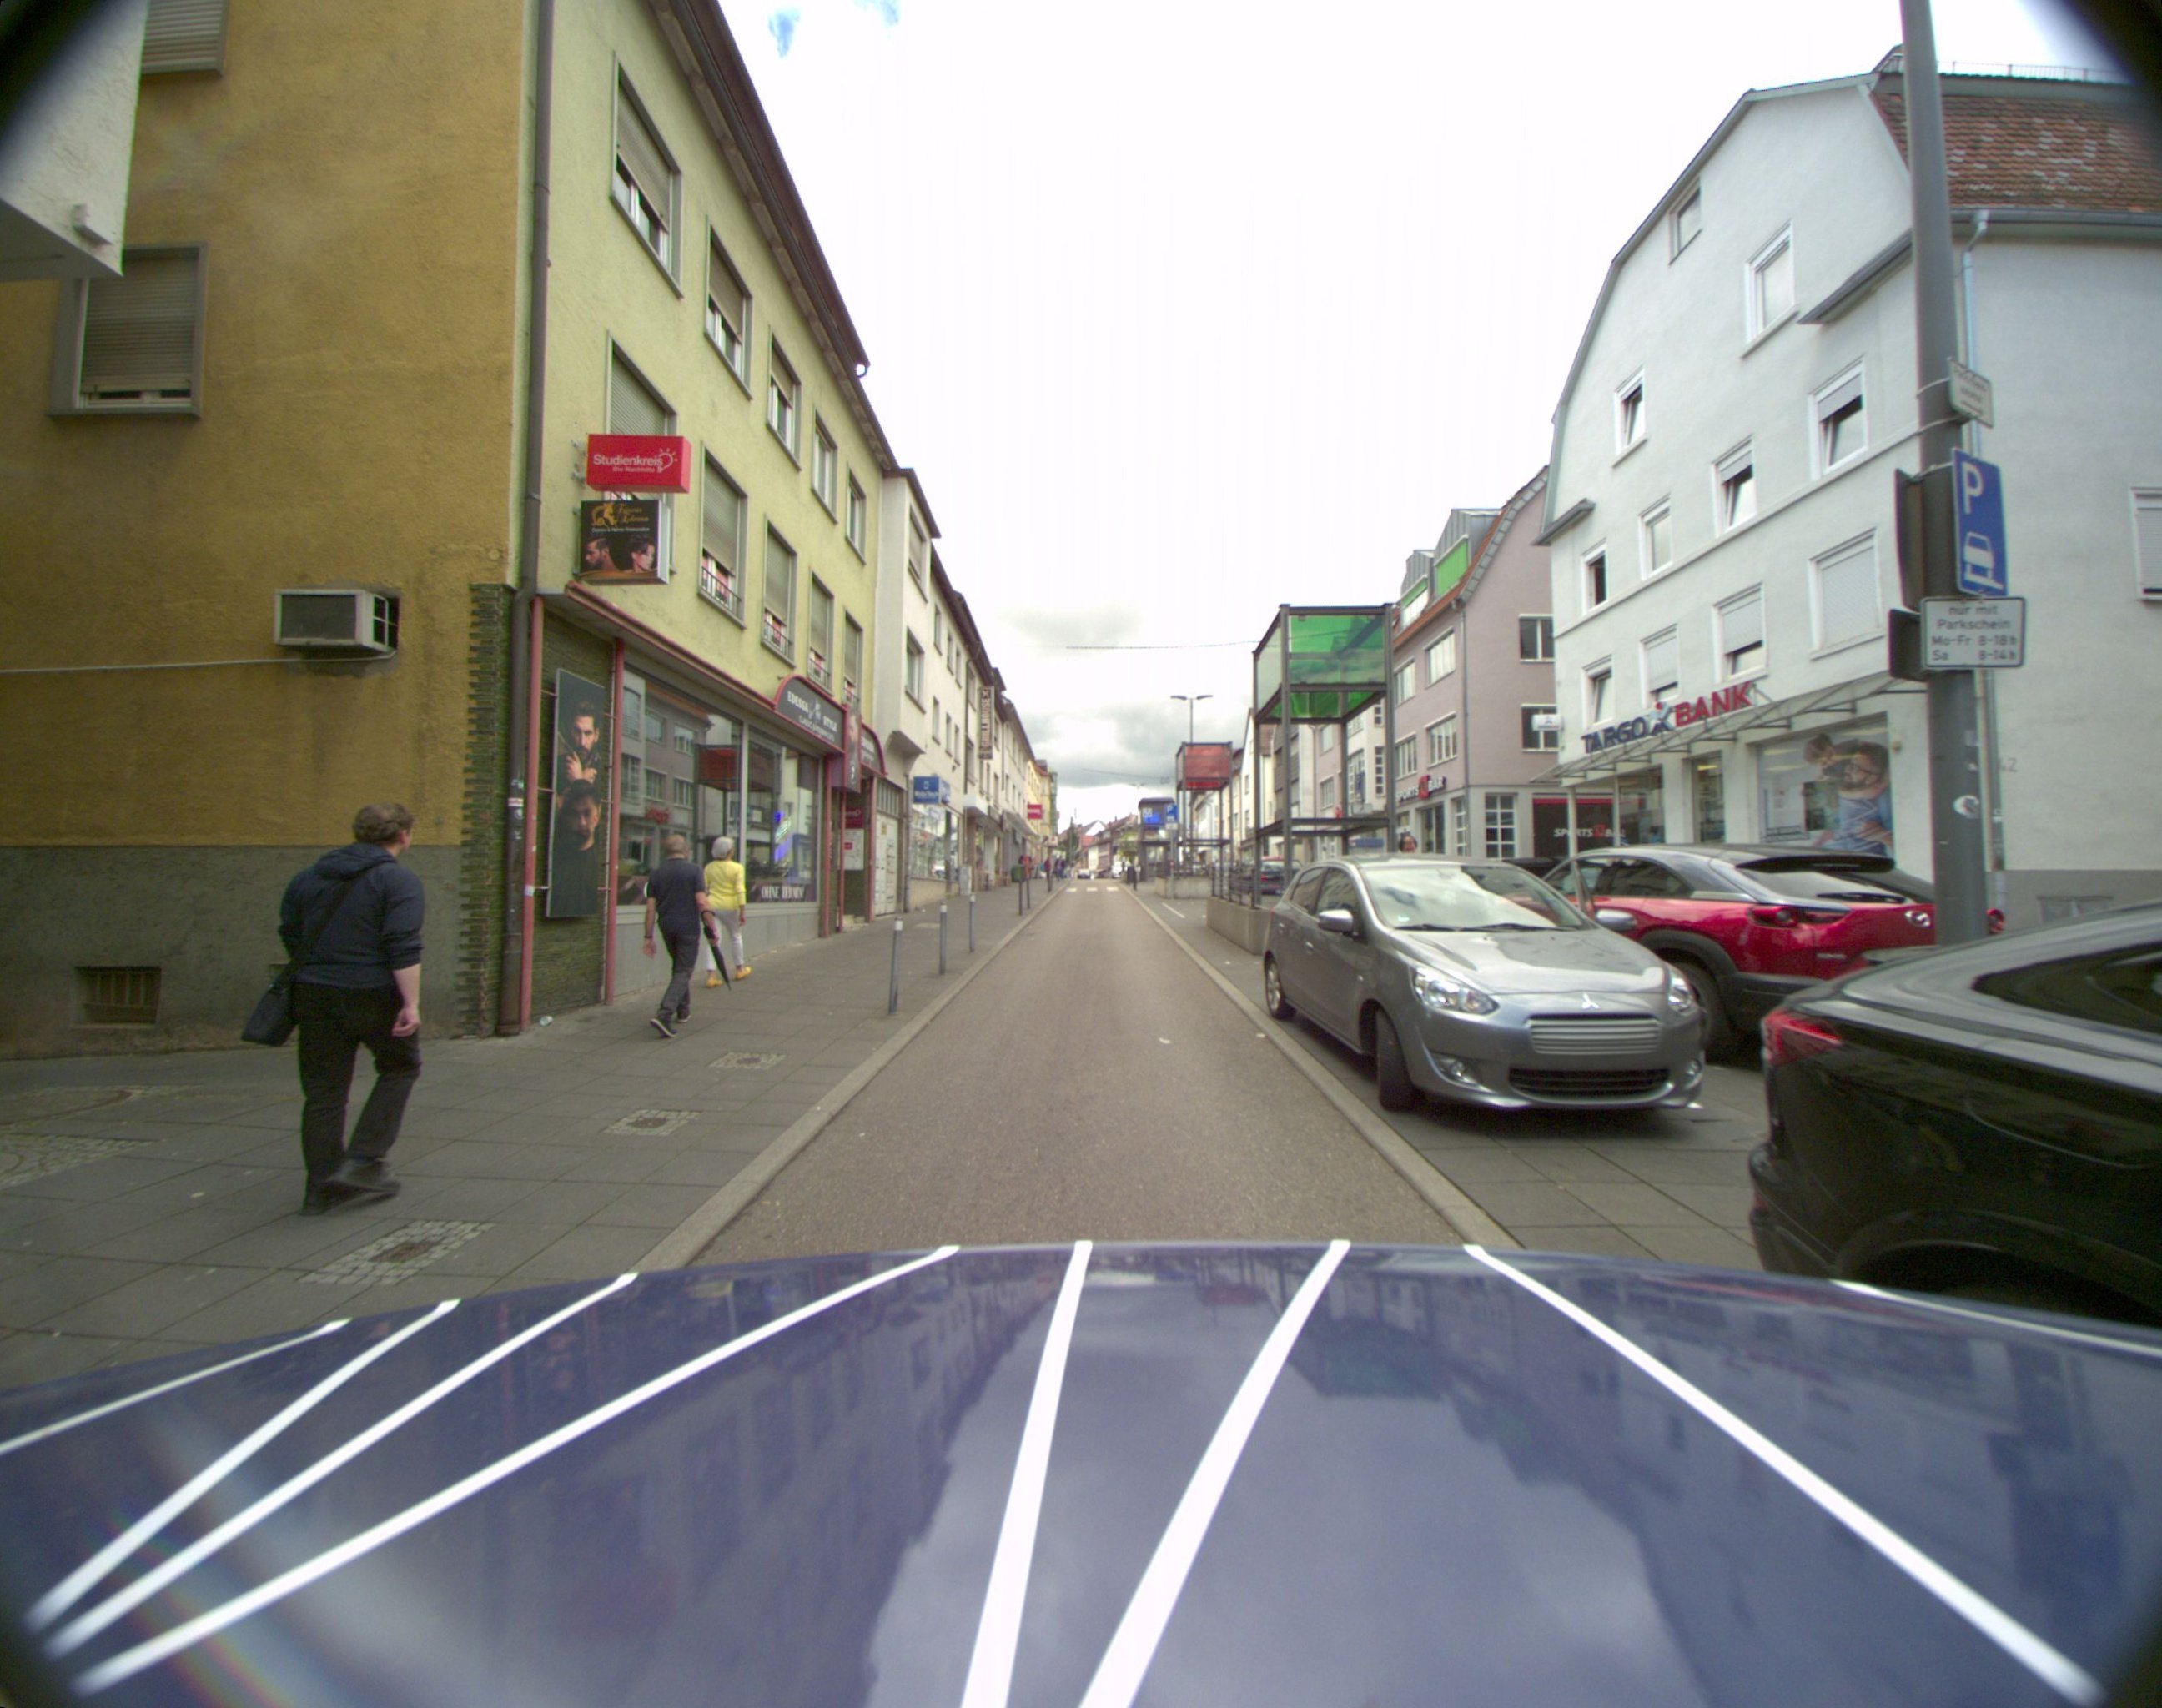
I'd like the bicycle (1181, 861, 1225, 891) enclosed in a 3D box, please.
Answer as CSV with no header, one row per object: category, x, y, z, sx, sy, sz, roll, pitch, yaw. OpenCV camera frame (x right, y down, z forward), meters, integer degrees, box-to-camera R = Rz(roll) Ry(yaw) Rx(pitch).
bicycle,5.105,0.920,31.923,1.782,1.216,0.459,0,1,0

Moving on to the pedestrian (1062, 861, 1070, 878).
pedestrian,-1.539,1.551,75.874,0.657,1.620,0.743,-2,1,-8

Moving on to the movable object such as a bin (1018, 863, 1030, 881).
movable object such as a bin,-3.500,1.092,46.611,0.652,1.074,0.673,0,0,1

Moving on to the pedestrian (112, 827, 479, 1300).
pedestrian,-3.231,0.778,3.213,0.713,1.743,0.787,1,1,1

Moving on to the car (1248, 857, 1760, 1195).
car,2.414,0.830,5.442,1.624,1.523,3.670,-2,0,1

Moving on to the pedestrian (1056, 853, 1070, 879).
pedestrian,-1.195,0.772,49.888,0.740,1.660,0.786,2,1,-8

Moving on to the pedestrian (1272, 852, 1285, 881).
pedestrian,11.956,0.731,45.926,0.592,1.706,0.513,-2,1,1

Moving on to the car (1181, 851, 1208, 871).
car,9.341,0.557,62.760,1.683,1.562,4.122,-2,0,1

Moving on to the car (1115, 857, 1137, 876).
car,3.841,1.044,65.012,1.754,1.452,3.601,-2,0,1

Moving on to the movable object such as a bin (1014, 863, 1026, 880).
movable object such as a bin,-3.698,1.074,45.890,0.670,1.024,0.560,0,0,1

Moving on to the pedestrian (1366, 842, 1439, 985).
pedestrian,3.917,0.696,9.302,0.535,1.662,0.901,-1,0,4

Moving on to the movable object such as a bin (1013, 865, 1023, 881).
movable object such as a bin,-3.758,1.106,45.278,0.568,0.951,0.498,0,0,1

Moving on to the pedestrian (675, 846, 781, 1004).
pedestrian,-3.838,0.742,8.323,0.713,1.622,0.835,2,1,1

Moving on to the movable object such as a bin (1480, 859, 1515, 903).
movable object such as a bin,13.367,0.858,24.387,0.691,1.368,0.808,-1,0,1

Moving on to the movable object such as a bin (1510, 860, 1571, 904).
movable object such as a bin,14.593,0.871,24.178,1.286,1.368,1.067,-1,0,1

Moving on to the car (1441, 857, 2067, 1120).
car,5.046,0.822,6.672,1.743,1.534,4.192,0,0,0

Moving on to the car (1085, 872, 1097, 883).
car,1.613,3.765,121.161,1.741,1.608,3.999,-2,0,-2

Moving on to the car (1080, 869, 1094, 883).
car,0.782,2.834,98.465,1.741,1.608,3.843,-2,0,0

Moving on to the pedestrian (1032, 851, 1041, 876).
pedestrian,-3.197,0.679,54.514,0.627,1.716,0.607,2,1,-5

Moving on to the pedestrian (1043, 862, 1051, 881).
pedestrian,-3.058,1.563,67.995,0.627,1.620,0.607,-2,1,-5

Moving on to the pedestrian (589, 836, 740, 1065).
pedestrian,-3.422,0.752,6.310,0.713,1.743,0.785,4,1,1

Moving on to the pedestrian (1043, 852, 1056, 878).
pedestrian,-2.099,0.717,49.935,0.740,1.660,0.627,2,1,-8

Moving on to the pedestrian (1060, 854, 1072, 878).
pedestrian,-1.081,0.885,55.768,0.759,1.715,0.756,4,0,-4

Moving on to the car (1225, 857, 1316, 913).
car,5.489,0.836,22.443,1.573,1.466,3.854,1,0,-2
